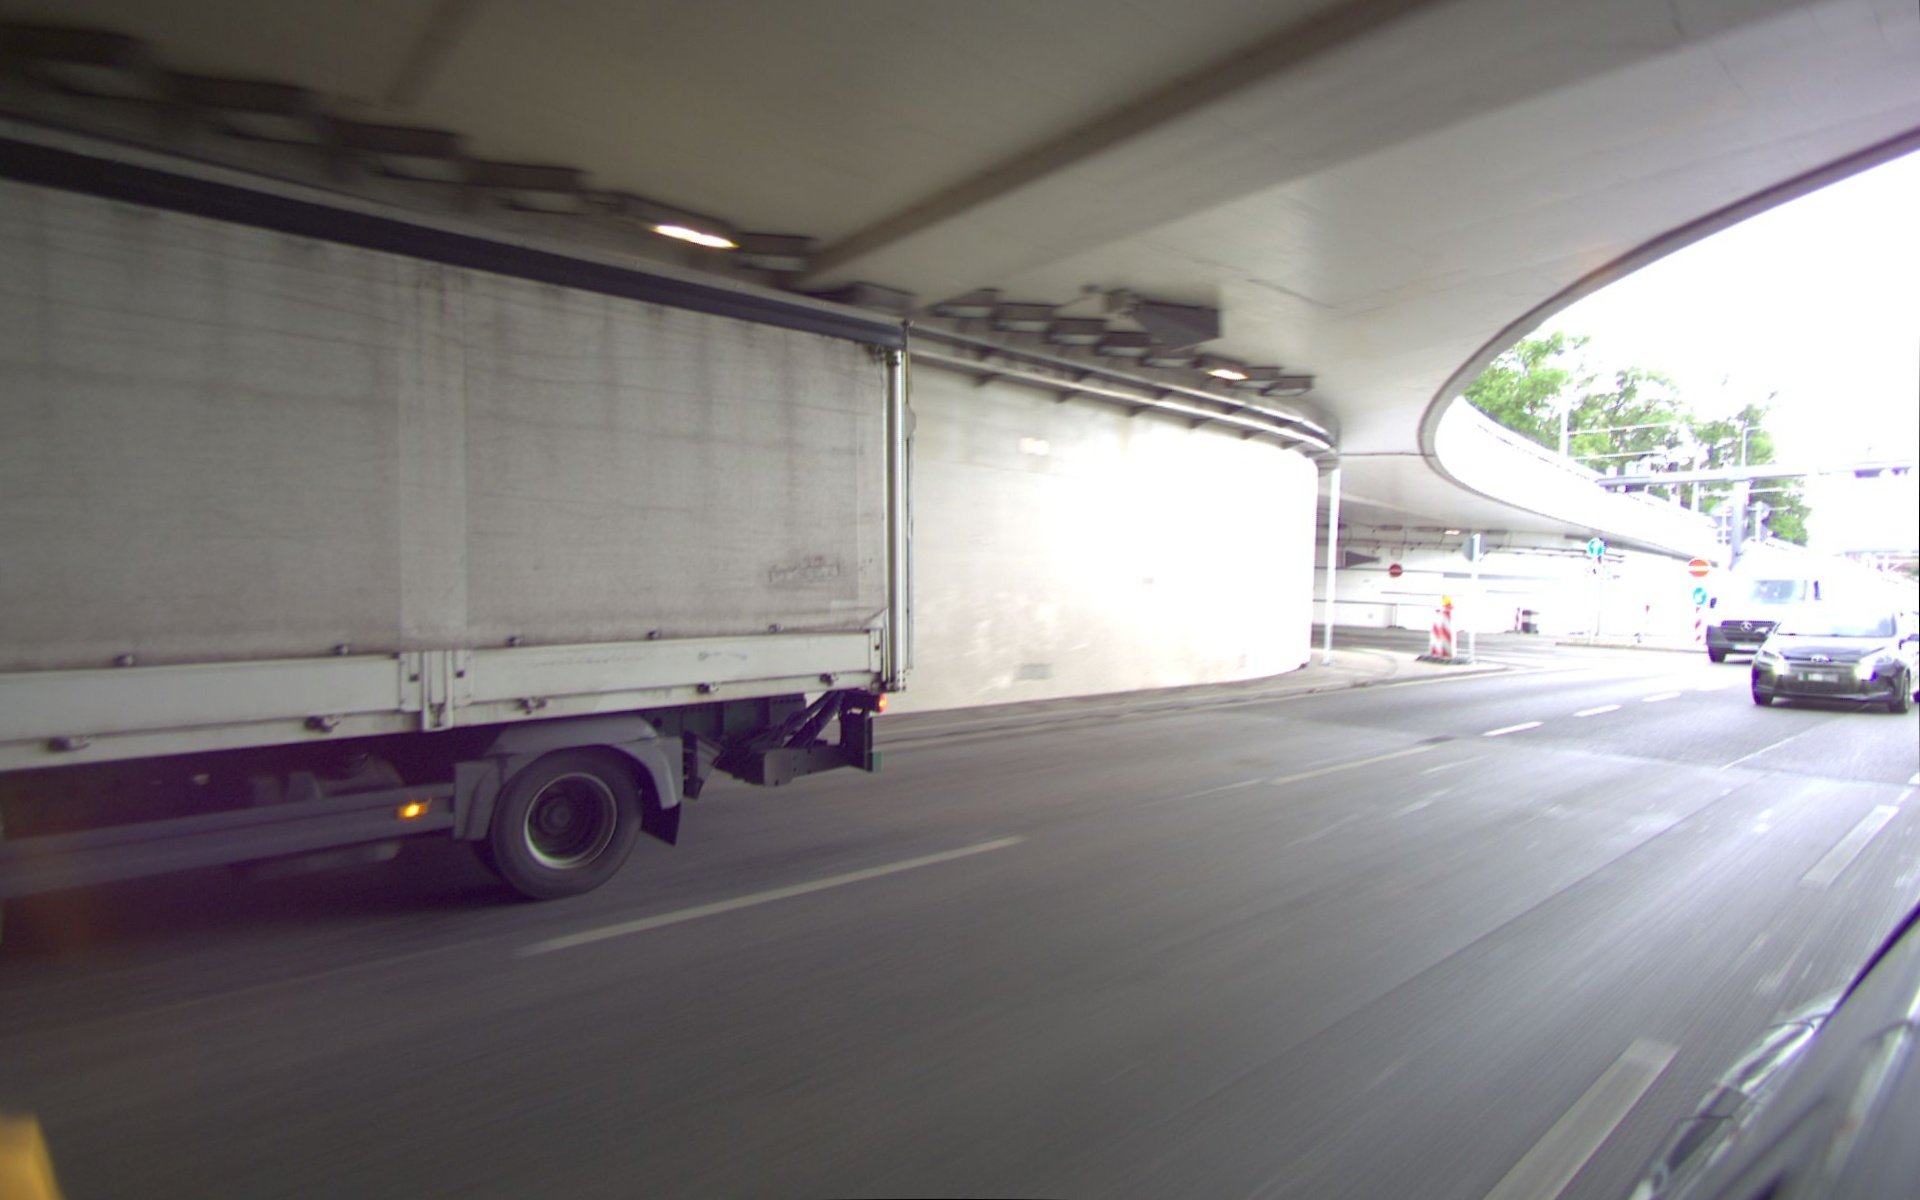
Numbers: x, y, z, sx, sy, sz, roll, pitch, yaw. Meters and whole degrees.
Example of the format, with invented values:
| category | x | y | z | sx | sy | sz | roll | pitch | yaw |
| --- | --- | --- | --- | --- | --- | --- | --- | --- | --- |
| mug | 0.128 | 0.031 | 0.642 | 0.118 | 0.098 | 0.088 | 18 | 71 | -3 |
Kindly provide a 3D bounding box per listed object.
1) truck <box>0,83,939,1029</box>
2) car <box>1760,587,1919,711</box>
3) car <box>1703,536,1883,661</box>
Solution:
| category | x | y | z | sx | sy | sz | roll | pitch | yaw |
| --- | --- | --- | --- | --- | --- | --- | --- | --- | --- |
| truck | -3.605 | -0.162 | 4.873 | 7.122 | 3.221 | 2.556 | 0 | 0 | -43 |
| car | 13.051 | 0.602 | 14.671 | 3.651 | 1.580 | 1.638 | -1 | 0 | -41 |
| car | 21.711 | -0.027 | 26.241 | 6.734 | 2.883 | 2.107 | 1 | 1 | -38 |
